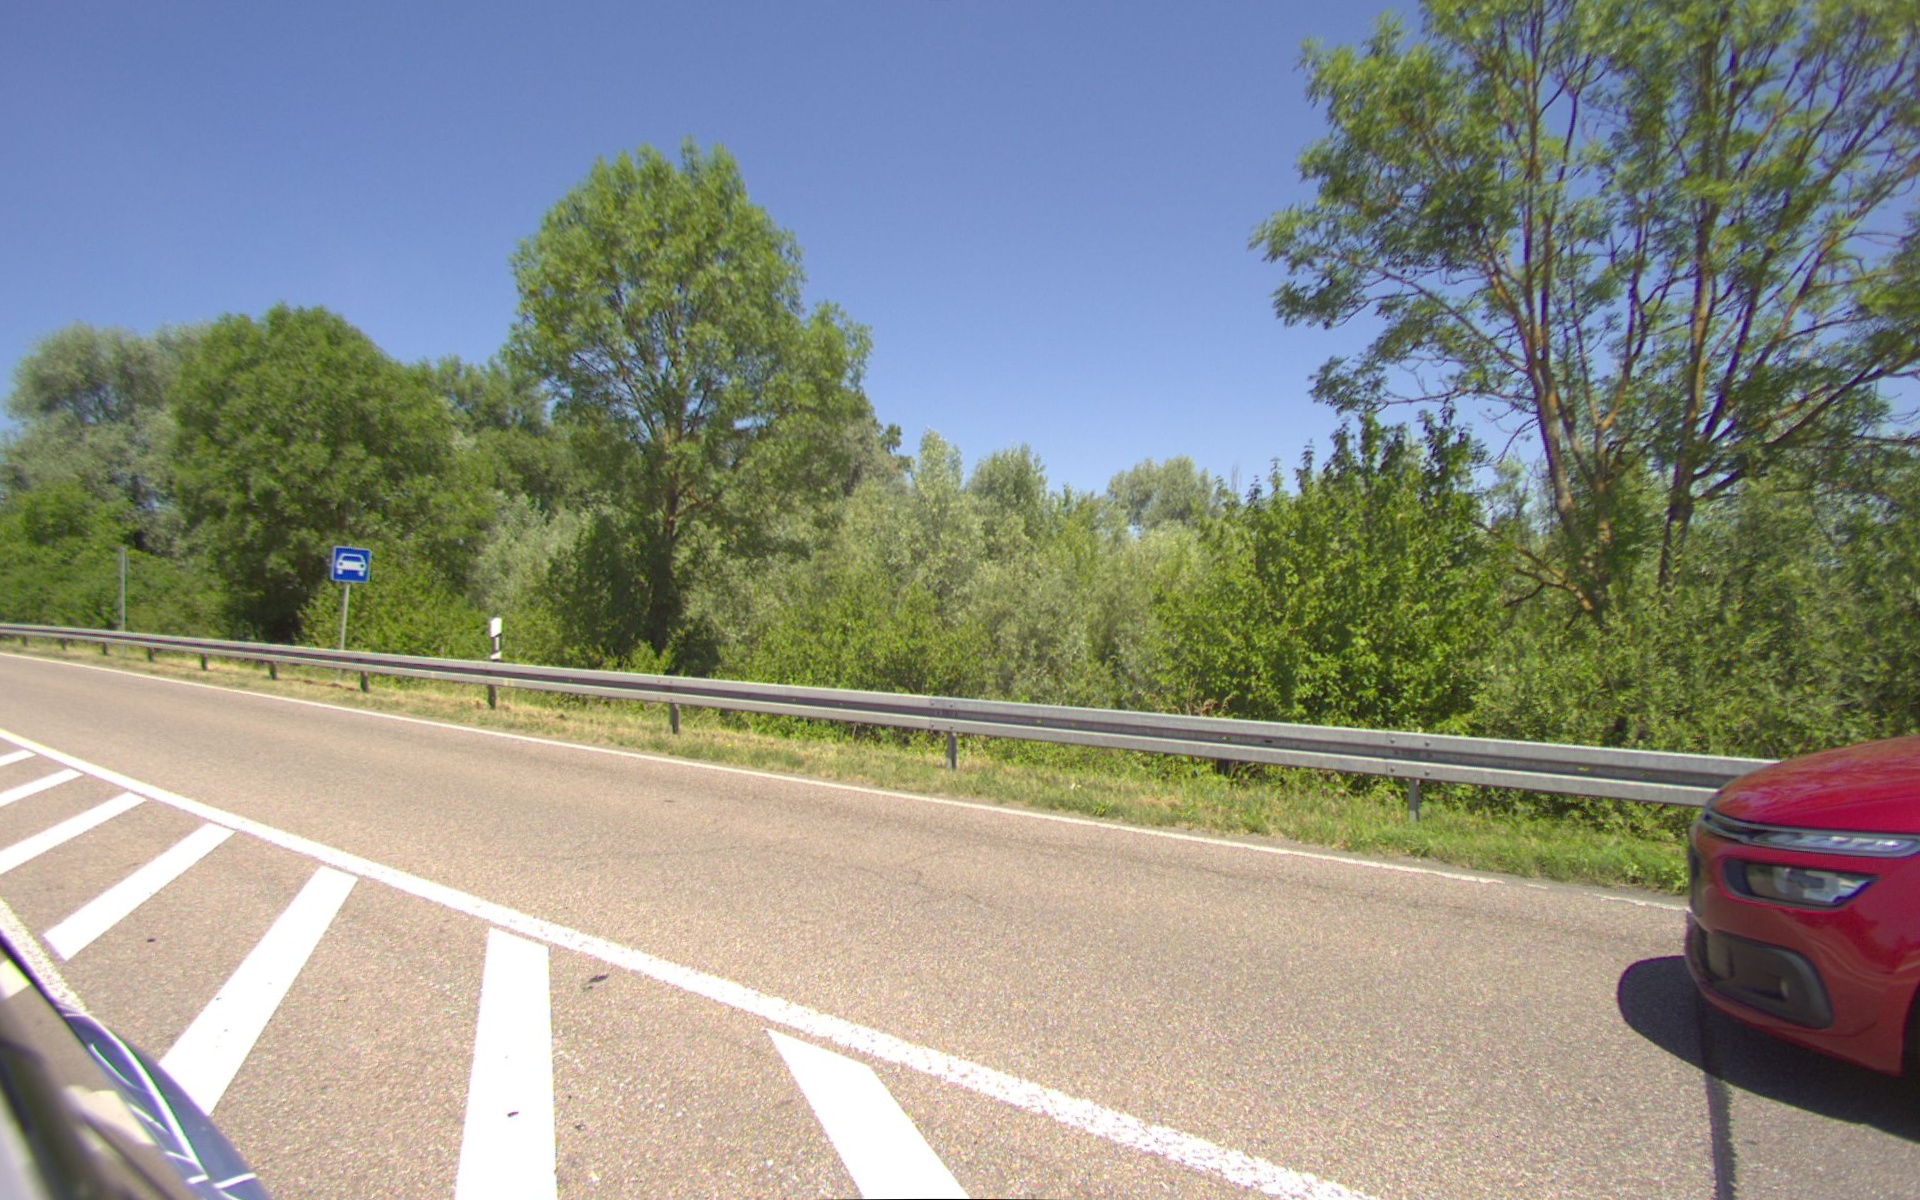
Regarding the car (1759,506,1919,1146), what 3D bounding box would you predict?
[{"bbox_3d":[4.553,0.613,2.295,4.201,1.698,1.720,-1,-2,36],"label":"car"}]
